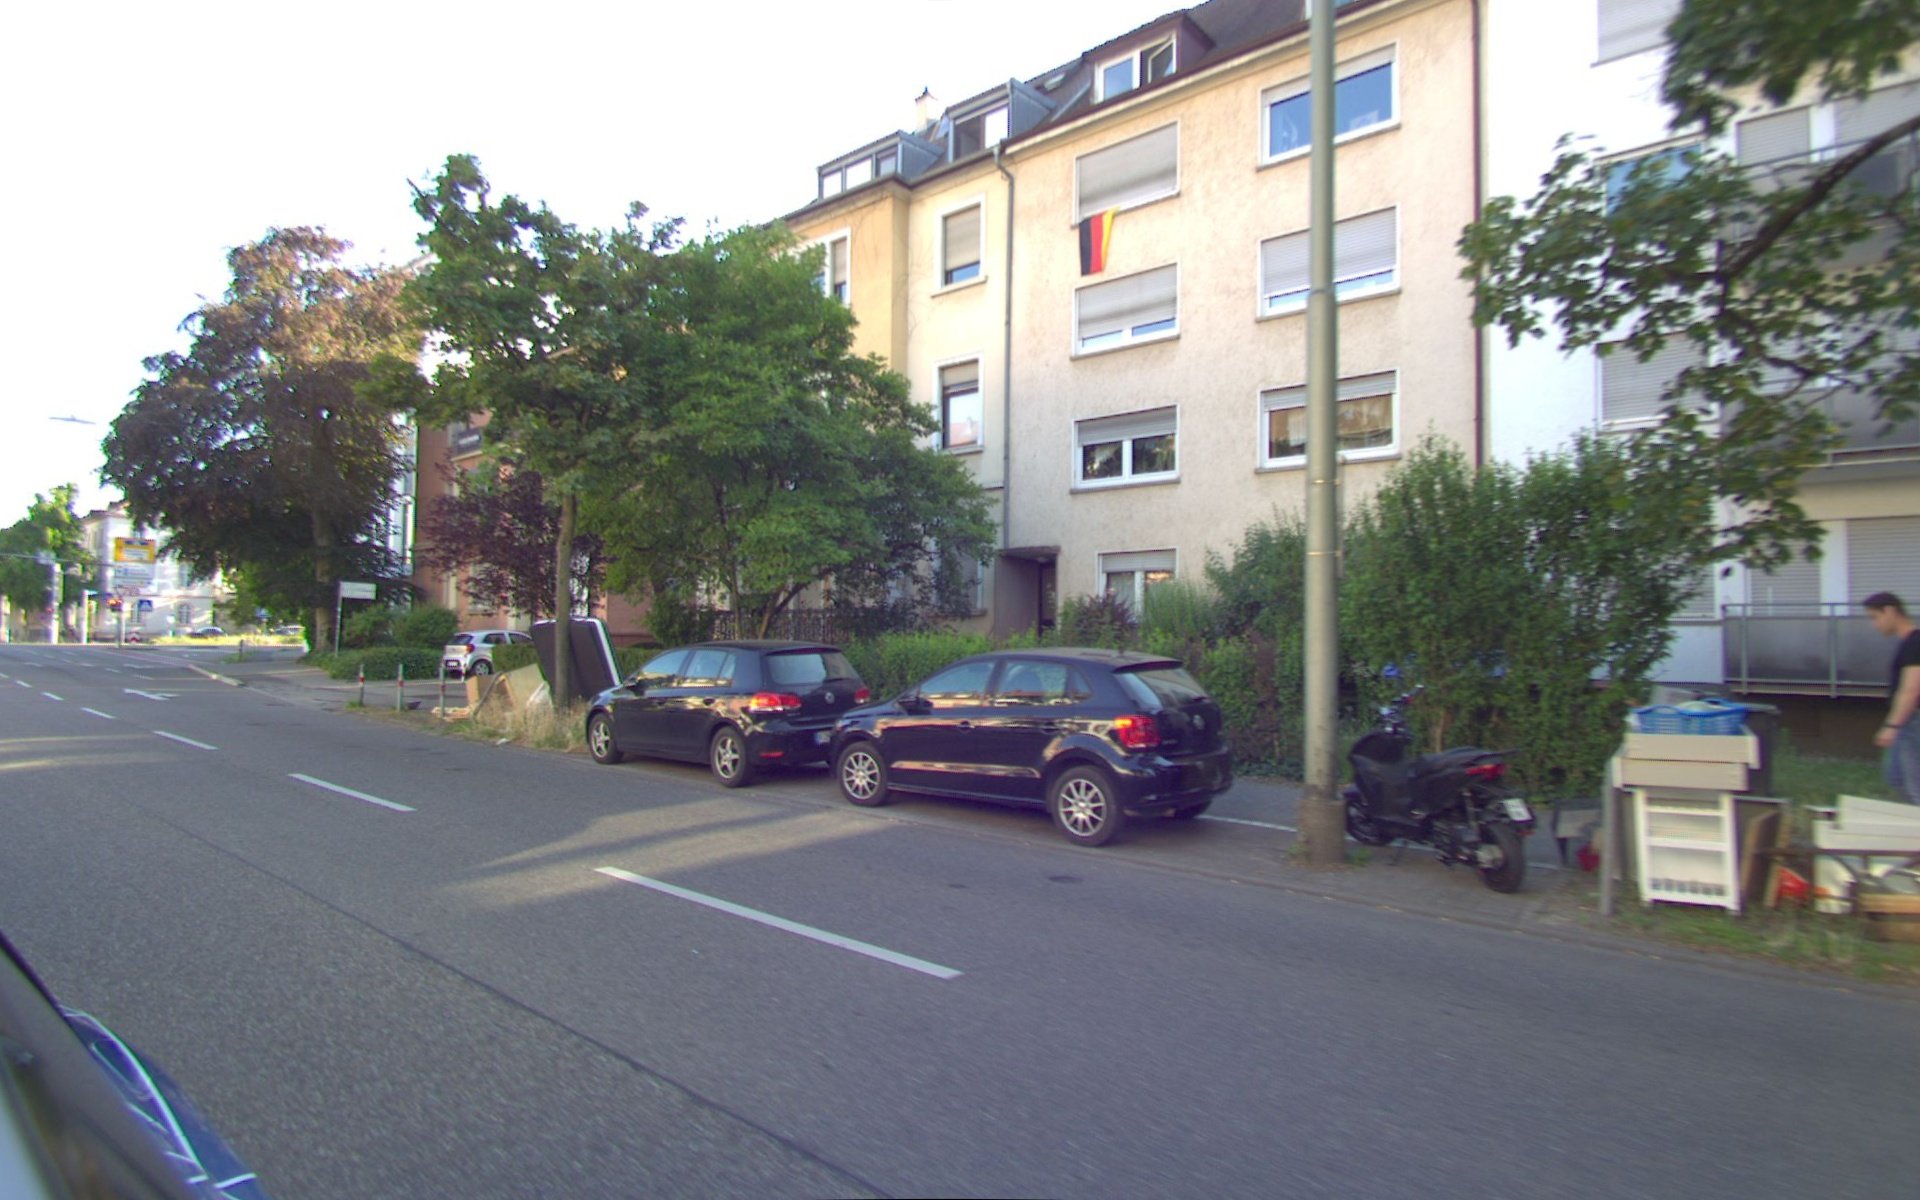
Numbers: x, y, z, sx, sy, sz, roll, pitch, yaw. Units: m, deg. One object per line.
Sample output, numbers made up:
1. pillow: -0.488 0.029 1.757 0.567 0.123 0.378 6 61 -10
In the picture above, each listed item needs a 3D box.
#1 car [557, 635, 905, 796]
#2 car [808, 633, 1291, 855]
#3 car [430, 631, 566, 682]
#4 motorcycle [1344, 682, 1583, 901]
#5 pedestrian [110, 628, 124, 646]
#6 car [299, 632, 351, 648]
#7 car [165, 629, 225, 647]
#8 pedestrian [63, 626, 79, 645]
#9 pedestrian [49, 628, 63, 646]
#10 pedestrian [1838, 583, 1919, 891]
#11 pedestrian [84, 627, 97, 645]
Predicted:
1. car: -2.736 1.169 11.587 4.194 1.514 1.732 -2 -3 41
2. car: 0.633 1.065 8.910 3.976 1.514 1.732 -2 -3 41
3. car: -14.544 1.764 31.970 1.812 1.497 3.465 -2 -3 36
4. motorcycle: 3.277 1.183 6.779 0.434 1.201 1.711 1 -3 -12
5. pedestrian: -79.096 3.489 94.958 0.880 1.663 0.671 -1 -3 32
6. car: -59.285 3.713 94.561 1.996 1.457 3.602 -2 -3 36
7. car: -64.941 3.235 85.960 1.996 1.457 3.602 -2 -3 36
8. pedestrian: -84.805 3.402 96.529 1.166 1.863 0.812 -1 -3 32
9. pedestrian: -85.191 3.463 95.327 1.081 1.721 0.671 -1 -3 32
10. pedestrian: 6.678 0.908 6.892 0.975 2.029 0.759 -2 -3 40
11. pedestrian: -80.267 3.366 93.457 0.887 1.663 0.614 -1 -3 32
